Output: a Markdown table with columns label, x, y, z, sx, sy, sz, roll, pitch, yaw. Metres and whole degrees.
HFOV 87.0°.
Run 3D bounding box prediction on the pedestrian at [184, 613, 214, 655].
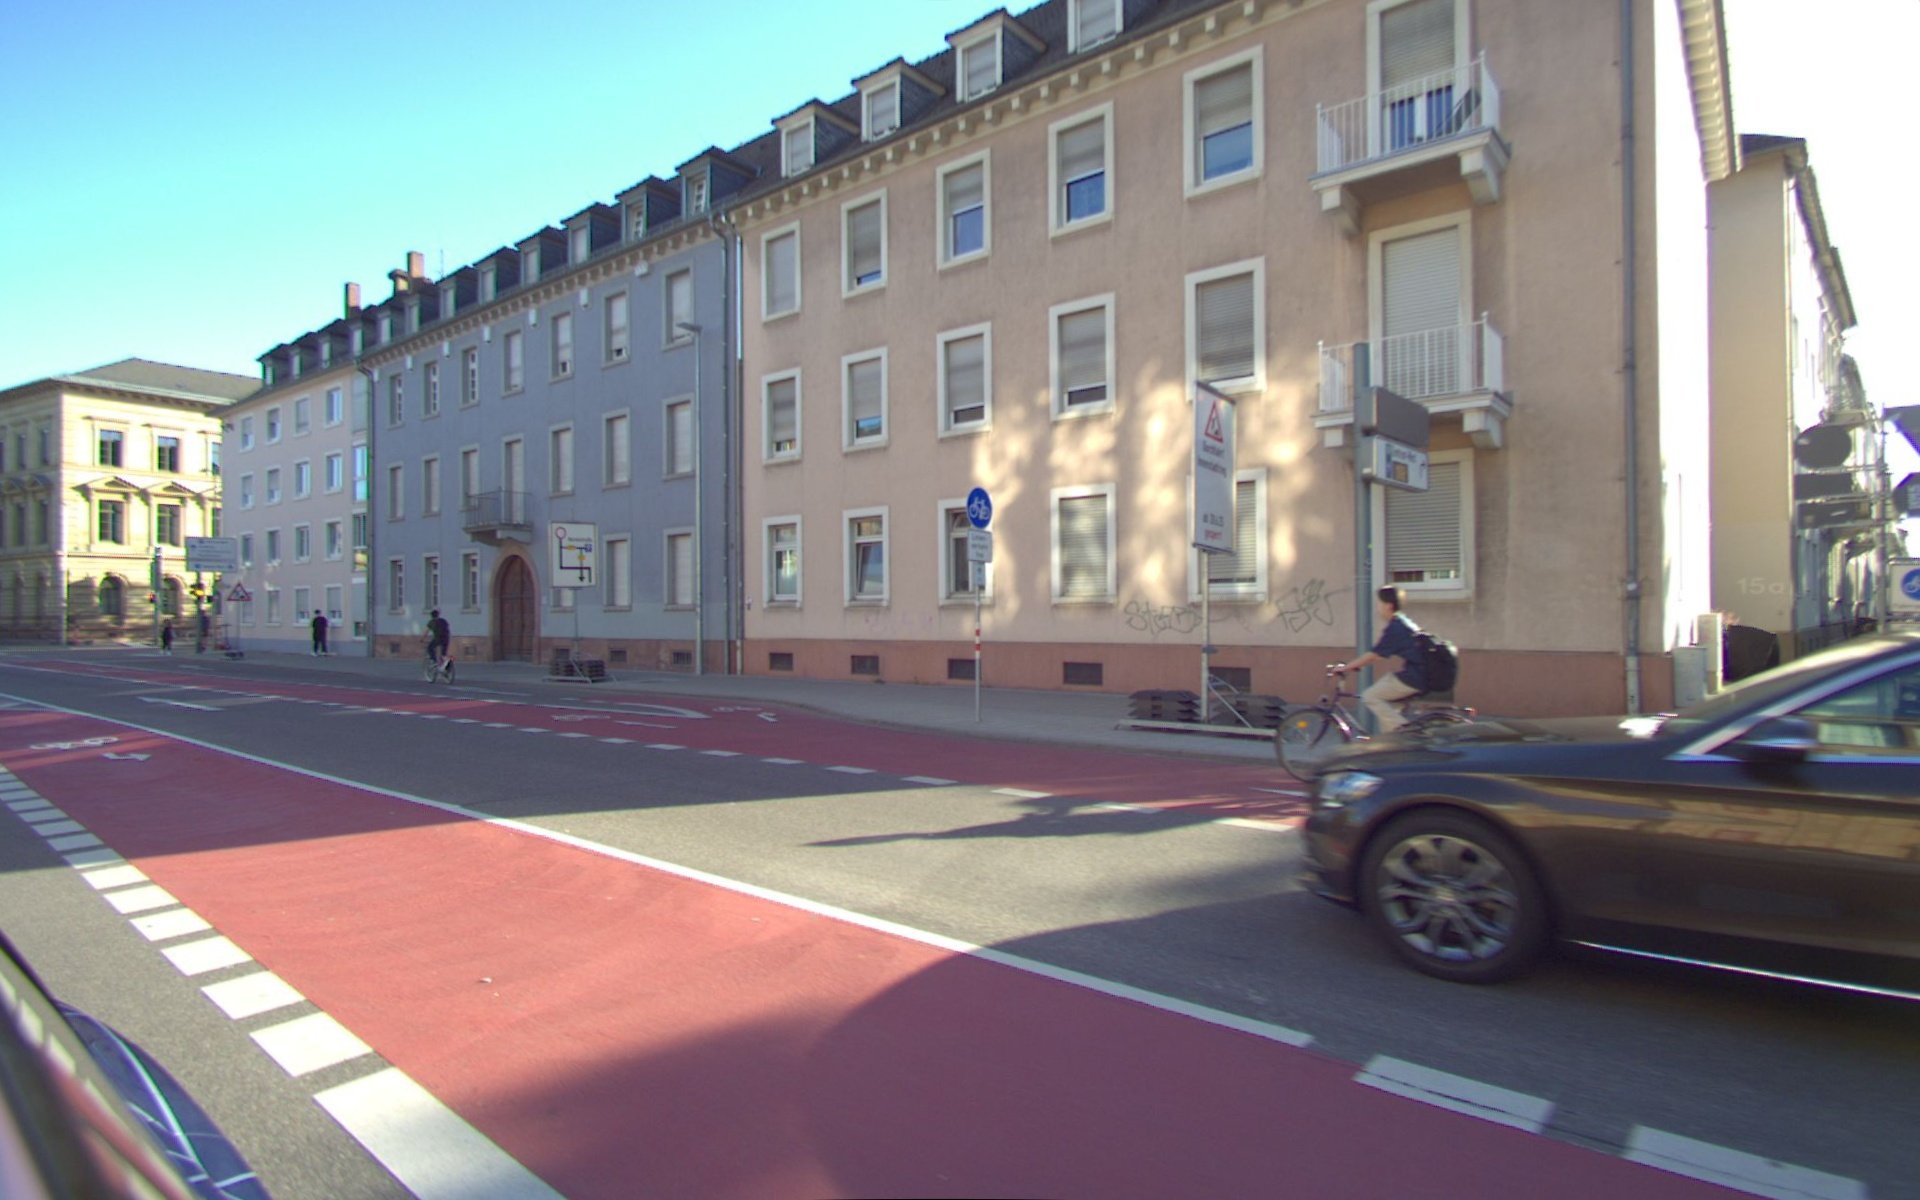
| label | x | y | z | sx | sy | sz | roll | pitch | yaw |
| --- | --- | --- | --- | --- | --- | --- | --- | --- | --- |
| pedestrian | -35.612 | 1.592 | 47.365 | 1.013 | 1.877 | 0.859 | -2 | 1 | 38 |

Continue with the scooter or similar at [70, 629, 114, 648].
| label | x | y | z | sx | sy | sz | roll | pitch | yaw |
| --- | --- | --- | --- | --- | --- | --- | --- | --- | --- |
| scooter or similar | -53.950 | 2.383 | 62.912 | 1.999 | 1.197 | 0.457 | 0 | -2 | -32 |

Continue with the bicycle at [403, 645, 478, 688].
| label | x | y | z | sx | sy | sz | roll | pitch | yaw |
| --- | --- | --- | --- | --- | --- | --- | --- | --- | --- |
| bicycle | -12.847 | 1.629 | 25.019 | 2.102 | 1.003 | 0.641 | -1 | -3 | 32 |

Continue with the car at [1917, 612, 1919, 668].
| label | x | y | z | sx | sy | sz | roll | pitch | yaw |
| --- | --- | --- | --- | --- | --- | --- | --- | --- | --- |
| car | 25.338 | 1.020 | 25.362 | 1.878 | 1.431 | 4.209 | -2 | -2 | 43 |

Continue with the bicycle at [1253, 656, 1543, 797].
| label | x | y | z | sx | sy | sz | roll | pitch | yaw |
| --- | --- | --- | --- | --- | --- | --- | --- | --- | --- |
| bicycle | 3.568 | 0.984 | 8.393 | 2.107 | 1.003 | 0.645 | -2 | -3 | 40 |

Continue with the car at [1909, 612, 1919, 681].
| label | x | y | z | sx | sy | sz | roll | pitch | yaw |
| --- | --- | --- | --- | --- | --- | --- | --- | --- | --- |
| car | 21.882 | 0.974 | 21.819 | 1.958 | 1.431 | 4.141 | -1 | -2 | 42 |

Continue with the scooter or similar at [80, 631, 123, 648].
| label | x | y | z | sx | sy | sz | roll | pitch | yaw |
| --- | --- | --- | --- | --- | --- | --- | --- | --- | --- |
| scooter or similar | -54.210 | 2.496 | 63.904 | 0.455 | 1.060 | 2.011 | -1 | -2 | 33 |

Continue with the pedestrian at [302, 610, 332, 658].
| label | x | y | z | sx | sy | sz | roll | pitch | yaw |
| --- | --- | --- | --- | --- | --- | --- | --- | --- | --- |
| pedestrian | -25.649 | 1.338 | 40.355 | 1.011 | 1.860 | 0.625 | -1 | 1 | 37 |

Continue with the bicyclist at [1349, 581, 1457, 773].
| label | x | y | z | sx | sy | sz | roll | pitch | yaw |
| --- | --- | --- | --- | --- | --- | --- | --- | --- | --- |
| bicyclist | 3.657 | 0.622 | 8.355 | 0.664 | 1.497 | 0.649 | -2 | -5 | 39 |

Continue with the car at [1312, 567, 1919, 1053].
| label | x | y | z | sx | sy | sz | roll | pitch | yaw |
| --- | --- | --- | --- | --- | --- | --- | --- | --- | --- |
| car | 3.759 | 0.620 | 3.375 | 4.550 | 1.430 | 1.793 | -2 | -2 | 40 |

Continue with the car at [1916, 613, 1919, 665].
| label | x | y | z | sx | sy | sz | roll | pitch | yaw |
| --- | --- | --- | --- | --- | --- | --- | --- | --- | --- |
| car | 28.632 | 1.101 | 28.820 | 2.000 | 1.431 | 3.943 | -2 | -2 | 43 |

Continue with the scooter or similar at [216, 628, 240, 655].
| label | x | y | z | sx | sy | sz | roll | pitch | yaw |
| --- | --- | --- | --- | --- | --- | --- | --- | --- | --- |
| scooter or similar | -34.051 | 1.917 | 47.056 | 1.472 | 1.194 | 0.528 | -2 | -1 | 39 |

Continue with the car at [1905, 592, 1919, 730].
| label | x | y | z | sx | sy | sz | roll | pitch | yaw |
| --- | --- | --- | --- | --- | --- | --- | --- | --- | --- |
| car | 14.032 | 0.770 | 13.381 | 4.522 | 1.691 | 2.062 | 1 | -2 | -45 |

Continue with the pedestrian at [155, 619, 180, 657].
| label | x | y | z | sx | sy | sz | roll | pitch | yaw |
| --- | --- | --- | --- | --- | --- | --- | --- | --- | --- |
| pedestrian | -34.719 | 1.665 | 44.322 | 0.817 | 1.595 | 0.625 | -1 | 1 | 37 |

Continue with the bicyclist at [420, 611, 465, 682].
| label | x | y | z | sx | sy | sz | roll | pitch | yaw |
| --- | --- | --- | --- | --- | --- | --- | --- | --- | --- |
| bicyclist | -12.809 | 1.164 | 25.051 | 0.736 | 1.723 | 0.630 | -1 | -4 | 32 |

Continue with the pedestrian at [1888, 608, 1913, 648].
| label | x | y | z | sx | sy | sz | roll | pitch | yaw |
| --- | --- | --- | --- | --- | --- | --- | --- | --- | --- |
| pedestrian | 48.173 | 1.406 | 51.830 | 0.975 | 2.029 | 0.838 | 1 | -2 | -44 |
